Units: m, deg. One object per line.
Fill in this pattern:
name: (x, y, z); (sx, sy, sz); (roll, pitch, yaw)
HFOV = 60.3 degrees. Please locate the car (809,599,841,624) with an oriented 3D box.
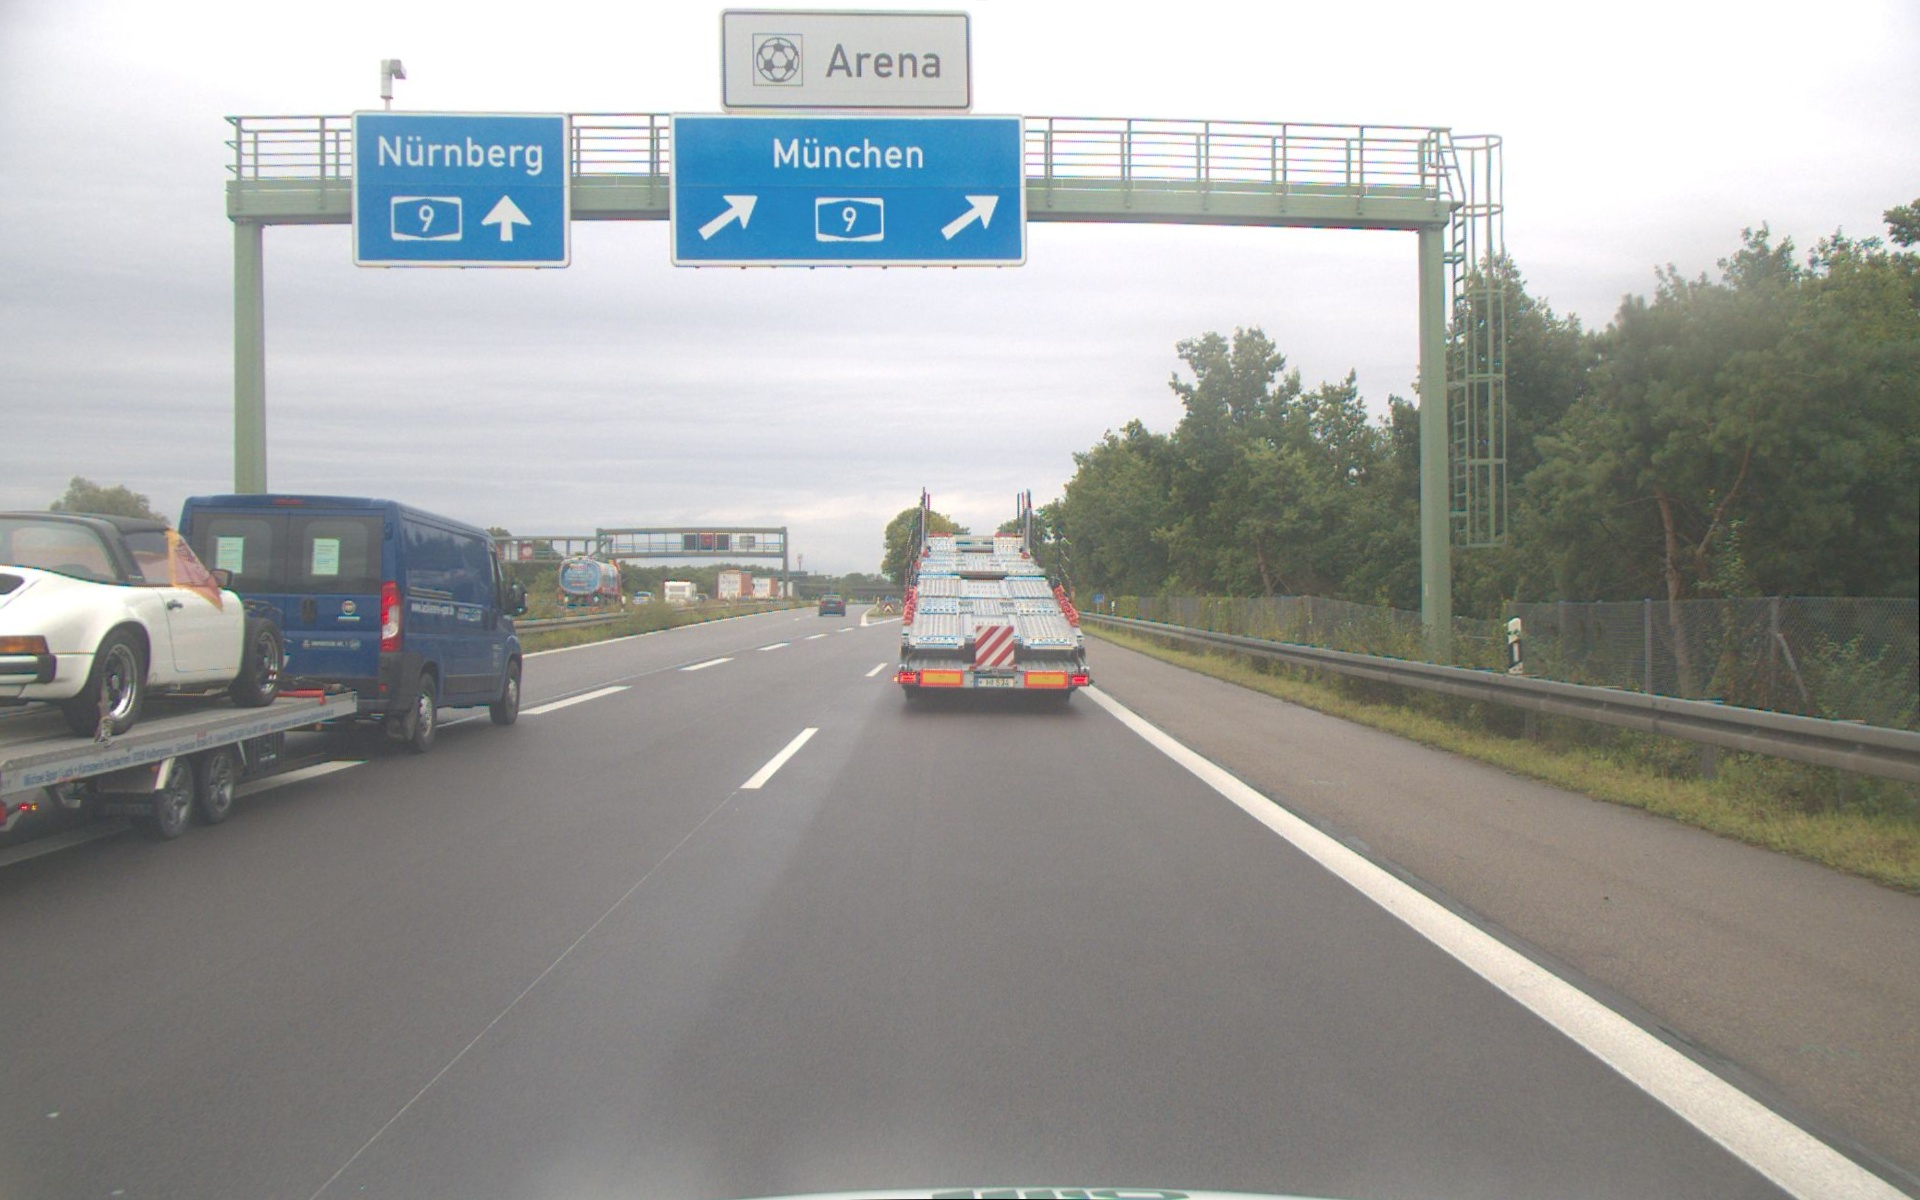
car: (-9.196, 0.784, 112.730); (1.922, 1.666, 5.622); (1, 0, -3)

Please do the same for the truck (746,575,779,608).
truck: (-27.860, -1.168, 234.041); (3.658, 4.494, 11.890); (1, 0, -3)

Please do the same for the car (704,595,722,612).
car: (-29.253, 0.439, 196.088); (1.695, 2.049, 3.998); (1, -1, -3)

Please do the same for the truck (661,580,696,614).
truck: (-23.885, -0.245, 140.431); (2.198, 2.751, 5.276); (1, 0, -3)

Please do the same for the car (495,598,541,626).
car: (-25.614, 0.697, 96.017); (1.758, 1.584, 3.824); (1, -1, -3)

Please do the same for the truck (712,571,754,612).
truck: (-25.701, -0.969, 187.578); (3.658, 4.494, 10.190); (1, 0, -3)

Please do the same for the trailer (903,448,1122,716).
trailer: (0.598, -0.244, 26.127); (2.721, 3.342, 10.405); (1, 0, -1)

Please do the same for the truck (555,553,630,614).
truck: (-21.405, -0.929, 96.778); (2.800, 3.424, 8.626); (1, 0, -3)

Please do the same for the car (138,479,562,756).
car: (-5.939, 0.152, 17.209); (2.325, 2.306, 6.253); (1, 0, -3)

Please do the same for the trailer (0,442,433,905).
trailer: (-5.590, 0.298, 10.626); (2.435, 2.029, 7.059); (1, 0, -3)

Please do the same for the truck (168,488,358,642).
truck: (-19.034, -0.860, 45.694); (2.586, 3.879, 7.336); (1, -1, -5)

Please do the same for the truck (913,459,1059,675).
truck: (0.461, -0.650, 35.826); (2.683, 4.037, 9.127); (1, 0, 0)

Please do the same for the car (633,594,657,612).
car: (-28.081, 0.243, 147.687); (1.650, 1.557, 3.996); (1, 0, -5)
